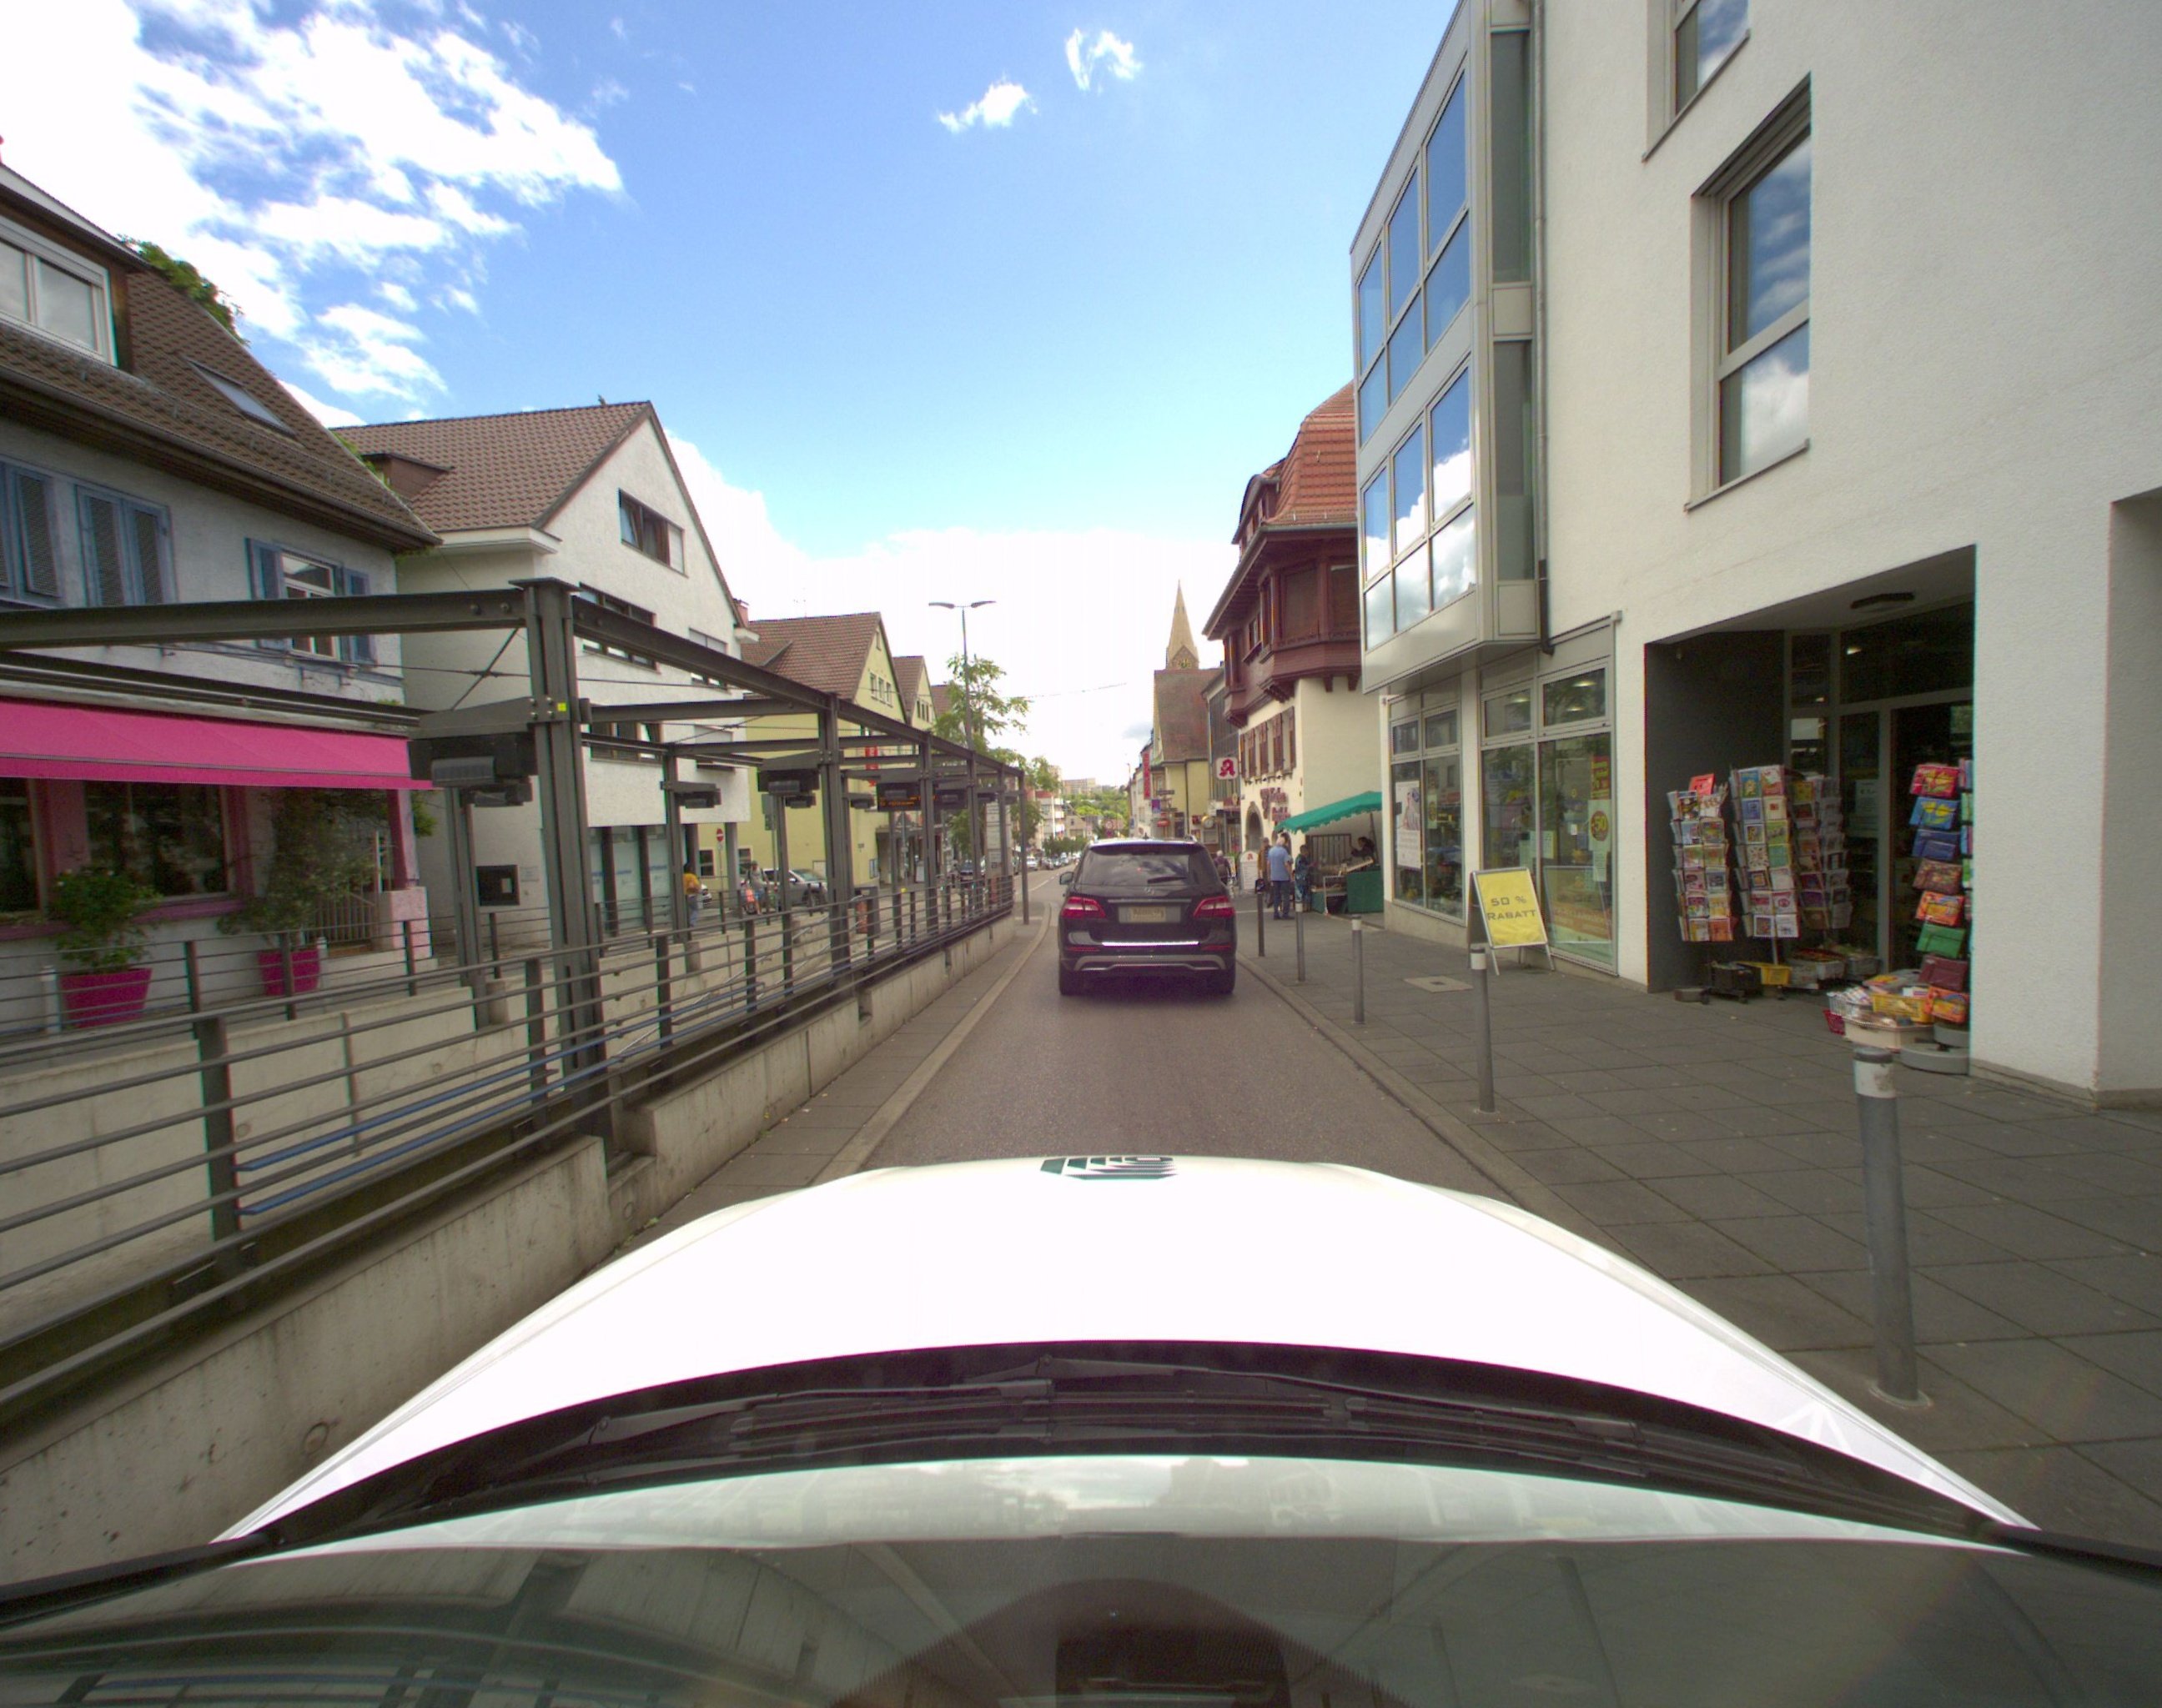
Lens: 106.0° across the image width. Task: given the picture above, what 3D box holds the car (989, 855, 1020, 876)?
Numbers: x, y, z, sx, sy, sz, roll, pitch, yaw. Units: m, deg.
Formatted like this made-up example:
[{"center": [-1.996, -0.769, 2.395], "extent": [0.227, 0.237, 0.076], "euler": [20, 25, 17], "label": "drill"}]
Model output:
[{"center": [-5.793, 0.826, 62.086], "extent": [1.920, 1.492, 4.842], "euler": [0, 0, 0], "label": "car"}]

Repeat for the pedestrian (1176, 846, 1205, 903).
[{"center": [3.254, 0.588, 24.268], "extent": [0.768, 1.645, 0.872], "euler": [-2, 0, 7], "label": "pedestrian"}]

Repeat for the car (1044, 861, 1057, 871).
[{"center": [-4.569, 1.759, 123.371], "extent": [1.921, 1.496, 4.259], "euler": [0, 0, -2], "label": "car"}]

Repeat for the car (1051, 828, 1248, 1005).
[{"center": [0.744, 0.617, 10.153], "extent": [1.936, 1.740, 4.180], "euler": [0, 0, 2], "label": "car"}]

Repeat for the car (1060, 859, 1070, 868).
[{"center": [-3.221, 1.908, 163.884], "extent": [1.919, 1.628, 4.263], "euler": [-2, 0, 1], "label": "car"}]

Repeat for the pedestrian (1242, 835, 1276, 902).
[{"center": [4.931, 0.390, 22.615], "extent": [0.782, 1.801, 0.677], "euler": [-2, 0, 7], "label": "pedestrian"}]

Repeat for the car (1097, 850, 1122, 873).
[{"center": [2.141, 0.534, 61.302], "extent": [1.741, 1.607, 3.802], "euler": [-4, 0, 2], "label": "car"}]

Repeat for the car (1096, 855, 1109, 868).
[{"center": [3.436, 1.130, 129.350], "extent": [1.931, 1.891, 4.707], "euler": [-4, 0, 1], "label": "car"}]

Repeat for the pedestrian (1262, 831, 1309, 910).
[{"center": [4.922, 0.396, 19.601], "extent": [0.771, 1.857, 0.707], "euler": [-3, 0, 44], "label": "pedestrian"}]

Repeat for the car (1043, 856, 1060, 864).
[{"center": [-7.191, 1.524, 198.555], "extent": [3.978, 1.750, 1.998], "euler": [-4, -1, -3], "label": "car"}]

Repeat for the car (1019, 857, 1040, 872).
[{"center": [-5.332, 1.056, 84.802], "extent": [1.920, 1.511, 4.261], "euler": [0, 0, 0], "label": "car"}]

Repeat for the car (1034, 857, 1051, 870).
[{"center": [-4.796, 1.210, 102.063], "extent": [1.920, 1.621, 4.638], "euler": [-1, -1, 0], "label": "car"}]

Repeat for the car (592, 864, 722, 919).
[{"center": [-17.935, 1.566, 34.587], "extent": [4.318, 1.805, 2.004], "euler": [-5, 3, 5], "label": "car"}]

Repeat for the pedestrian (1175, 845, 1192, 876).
[{"center": [5.789, 0.359, 45.882], "extent": [0.859, 1.707, 0.947], "euler": [-2, 0, 7], "label": "pedestrian"}]

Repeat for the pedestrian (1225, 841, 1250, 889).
[{"center": [5.940, 0.405, 30.896], "extent": [0.771, 1.769, 0.818], "euler": [-2, 0, 2], "label": "pedestrian"}]

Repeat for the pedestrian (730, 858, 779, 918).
[{"center": [-10.204, 1.056, 25.465], "extent": [0.909, 1.787, 0.992], "euler": [-3, 0, 17], "label": "pedestrian"}]

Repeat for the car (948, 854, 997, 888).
[{"center": [-5.903, 0.883, 44.809], "extent": [2.000, 1.693, 4.608], "euler": [-1, 1, 1], "label": "car"}]

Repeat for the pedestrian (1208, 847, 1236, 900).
[{"center": [4.187, 0.567, 24.222], "extent": [0.720, 1.531, 0.809], "euler": [-2, 0, 7], "label": "pedestrian"}]

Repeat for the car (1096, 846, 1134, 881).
[{"center": [1.949, 0.481, 45.388], "extent": [1.868, 1.799, 4.738], "euler": [-2, 0, 5], "label": "car"}]

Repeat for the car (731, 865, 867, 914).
[{"center": [-10.288, 1.312, 29.786], "extent": [4.305, 1.622, 1.978], "euler": [-1, -6, 19], "label": "car"}]

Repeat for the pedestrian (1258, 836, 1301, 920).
[{"center": [4.288, 0.505, 17.556], "extent": [0.694, 1.767, 0.629], "euler": [-3, 0, 27], "label": "pedestrian"}]

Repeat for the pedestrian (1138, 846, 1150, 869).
[{"center": [4.878, 0.276, 63.267], "extent": [0.793, 1.727, 1.053], "euler": [-3, 0, 1], "label": "pedestrian"}]

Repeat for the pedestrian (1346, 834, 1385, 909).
[{"center": [6.330, 0.375, 18.165], "extent": [0.620, 1.612, 0.704], "euler": [-2, 0, 6], "label": "pedestrian"}]

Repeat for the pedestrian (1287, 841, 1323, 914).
[{"center": [5.092, 0.517, 18.519], "extent": [0.620, 1.612, 0.704], "euler": [-2, 0, 6], "label": "pedestrian"}]

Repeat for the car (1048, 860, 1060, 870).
[{"center": [-4.272, 1.756, 130.760], "extent": [1.921, 1.595, 4.454], "euler": [0, 0, -2], "label": "car"}]

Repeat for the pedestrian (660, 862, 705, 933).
[{"center": [-10.079, 1.085, 20.642], "extent": [0.634, 1.738, 0.835], "euler": [-4, 0, -1], "label": "pedestrian"}]

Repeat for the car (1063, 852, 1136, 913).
[{"center": [0.456, 0.764, 23.549], "extent": [1.782, 1.540, 3.740], "euler": [-3, 0, -3], "label": "car"}]

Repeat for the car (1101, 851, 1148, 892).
[{"center": [1.790, 0.698, 34.276], "extent": [1.796, 1.555, 3.955], "euler": [-3, 0, 2], "label": "car"}]
